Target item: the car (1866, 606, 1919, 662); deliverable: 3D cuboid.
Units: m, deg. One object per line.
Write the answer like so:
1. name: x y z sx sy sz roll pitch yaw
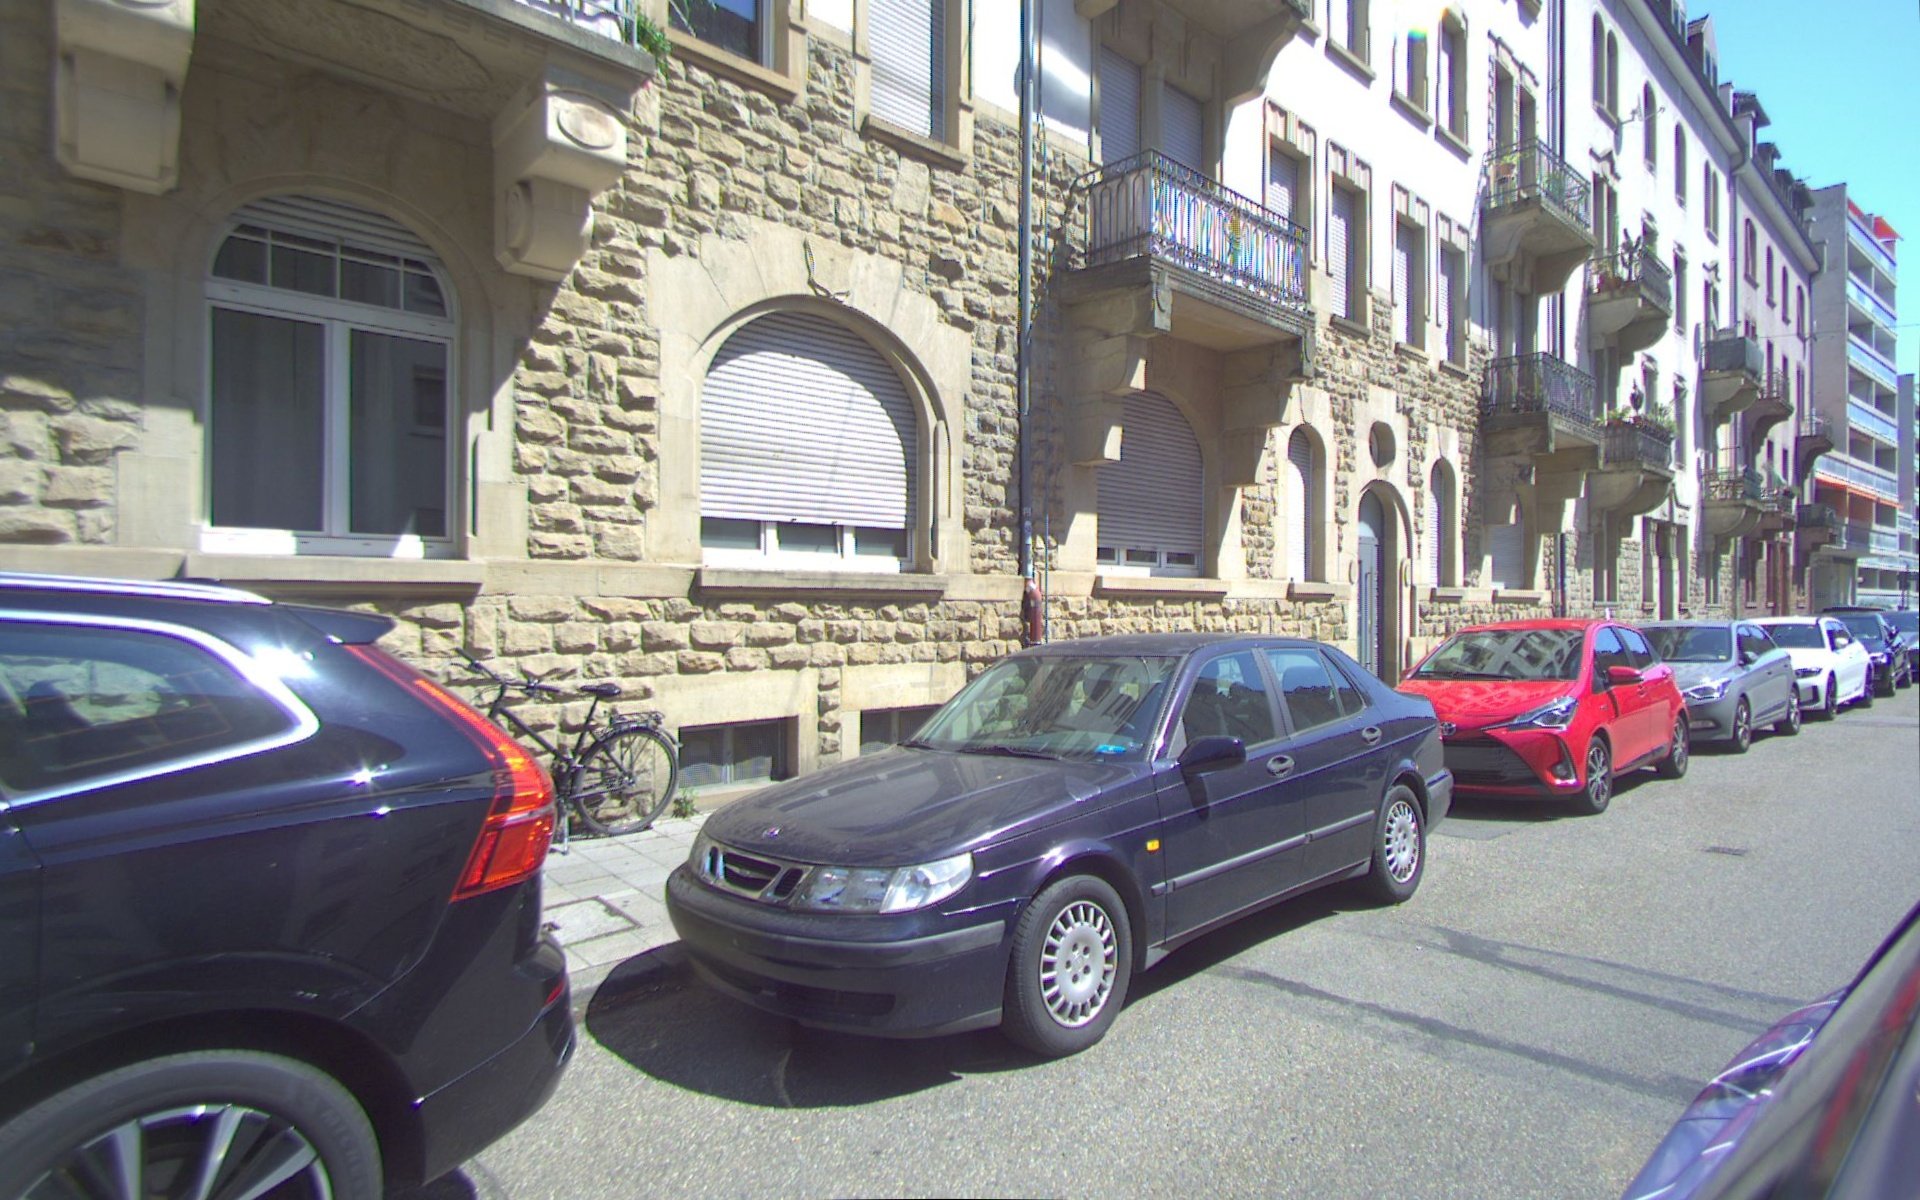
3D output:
1. car: 25.657 0.883 26.947 4.276 1.375 1.789 1 0 -42

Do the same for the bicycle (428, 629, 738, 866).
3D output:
1. bicycle: -2.261 0.822 6.227 1.744 1.223 0.442 0 1 -41

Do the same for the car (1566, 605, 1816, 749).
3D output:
1. car: 9.006 0.824 12.363 3.788 1.471 1.592 0 -2 -41

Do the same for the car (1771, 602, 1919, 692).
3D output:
1. car: 17.118 0.804 19.392 4.588 1.476 1.739 0 1 -42

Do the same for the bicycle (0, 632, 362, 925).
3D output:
1. bicycle: -3.909 0.793 4.859 1.744 1.223 0.385 0 1 -41

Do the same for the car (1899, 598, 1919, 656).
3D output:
1. car: 29.488 0.784 30.087 4.016 1.642 1.652 0 1 -37

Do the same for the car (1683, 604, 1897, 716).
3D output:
1. car: 13.033 0.843 15.791 4.515 1.471 1.719 0 -2 -40

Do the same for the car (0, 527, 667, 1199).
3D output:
1. car: -2.962 0.704 1.508 4.528 1.587 1.834 0 -2 -44

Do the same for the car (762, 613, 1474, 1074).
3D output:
1. car: 1.082 0.809 5.135 3.907 1.417 1.513 0 -2 -44

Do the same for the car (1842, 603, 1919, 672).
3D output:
1. car: 21.617 0.799 23.142 4.415 1.450 1.824 0 -1 -44

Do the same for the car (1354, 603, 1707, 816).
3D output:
1. car: 5.166 0.791 8.958 3.777 1.471 1.572 0 -2 -42
